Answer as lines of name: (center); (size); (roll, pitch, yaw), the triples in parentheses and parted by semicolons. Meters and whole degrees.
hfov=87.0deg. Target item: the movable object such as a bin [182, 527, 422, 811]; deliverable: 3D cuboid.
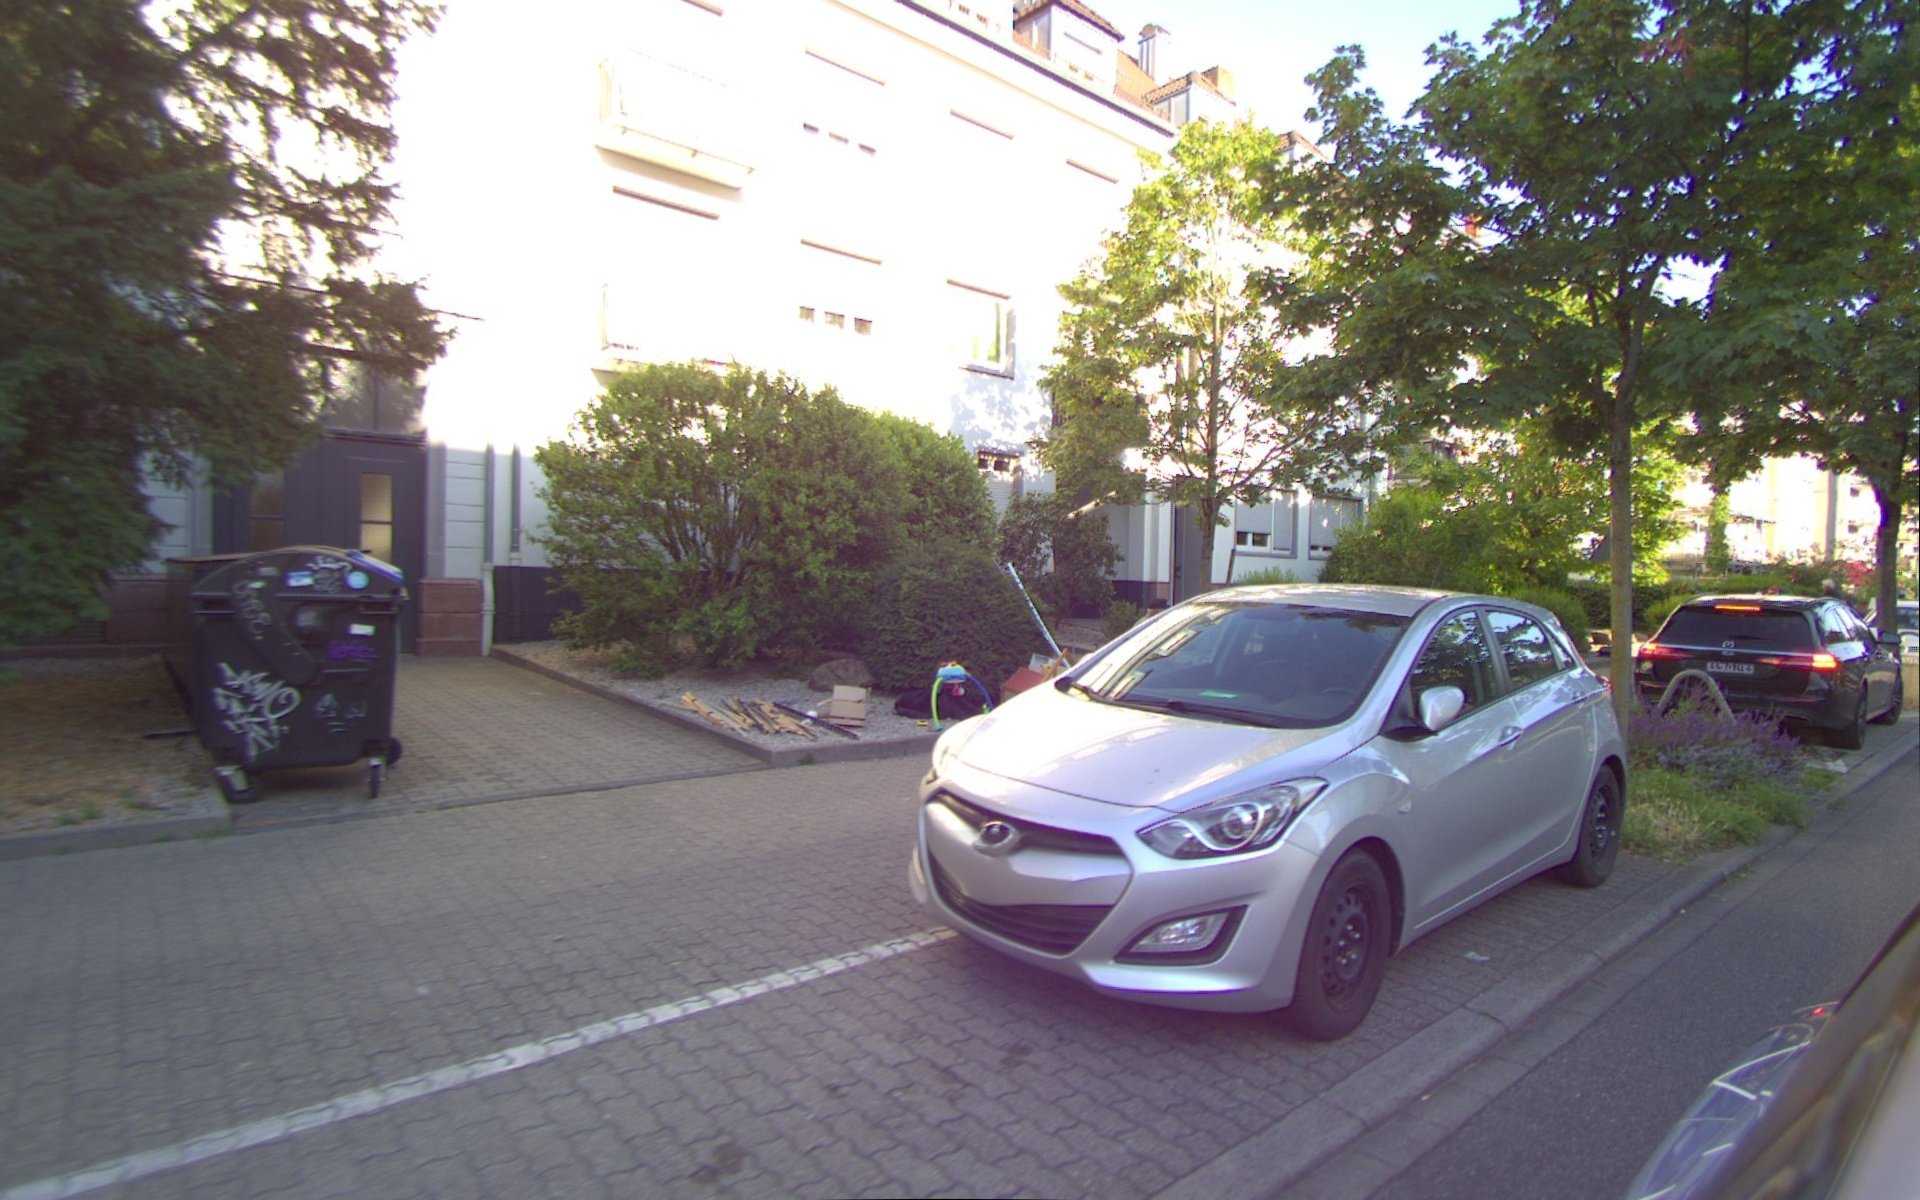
movable object such as a bin: (-3.973, 0.337, 6.218); (1.116, 1.510, 1.273); (1, 3, -30)

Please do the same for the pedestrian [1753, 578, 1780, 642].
pedestrian: (21.964, 0.252, 27.557); (0.518, 1.718, 0.511); (0, 1, -45)

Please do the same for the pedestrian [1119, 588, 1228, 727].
pedestrian: (2.030, 0.511, 9.636); (0.776, 1.250, 0.674); (0, 1, -40)

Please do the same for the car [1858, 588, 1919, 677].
car: (18.221, 0.573, 18.846); (4.338, 1.508, 1.640); (0, 3, -41)

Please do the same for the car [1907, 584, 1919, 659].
car: (22.507, 0.489, 22.501); (3.929, 1.587, 1.640); (0, 3, -40)

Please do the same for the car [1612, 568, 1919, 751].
car: (9.279, 0.509, 11.348); (4.733, 1.600, 1.879); (0, 3, -39)

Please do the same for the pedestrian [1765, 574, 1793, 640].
pedestrian: (21.566, 0.181, 26.651); (0.518, 1.718, 0.511); (0, 1, -45)

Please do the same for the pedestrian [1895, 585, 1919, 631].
pedestrian: (33.234, 0.259, 35.423); (0.553, 1.587, 0.740); (1, 1, 32)

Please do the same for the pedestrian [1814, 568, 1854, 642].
pedestrian: (22.318, 0.123, 25.838); (0.749, 1.872, 0.550); (0, 1, -34)

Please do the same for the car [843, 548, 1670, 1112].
car: (1.721, 0.583, 4.792); (4.318, 1.512, 1.721); (0, 2, -42)
